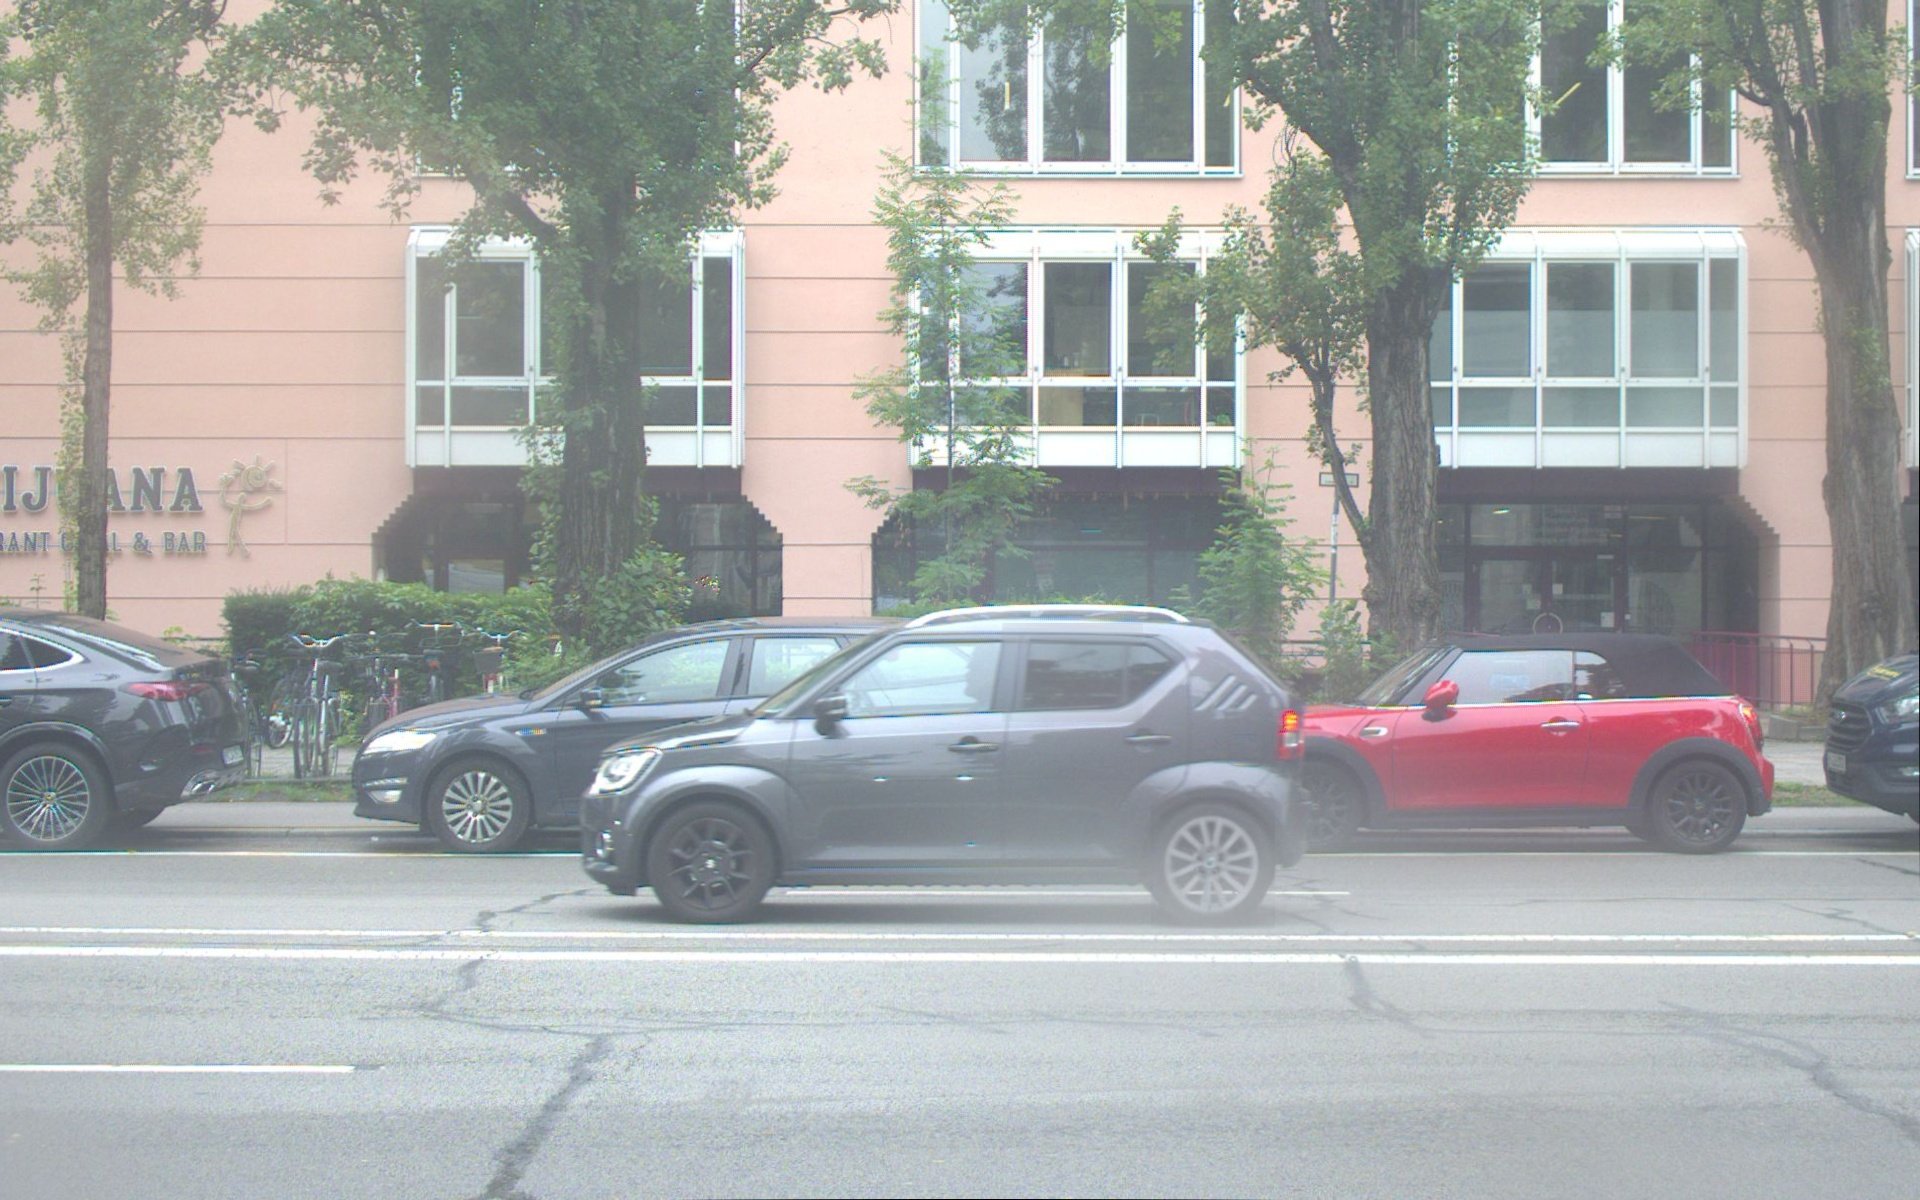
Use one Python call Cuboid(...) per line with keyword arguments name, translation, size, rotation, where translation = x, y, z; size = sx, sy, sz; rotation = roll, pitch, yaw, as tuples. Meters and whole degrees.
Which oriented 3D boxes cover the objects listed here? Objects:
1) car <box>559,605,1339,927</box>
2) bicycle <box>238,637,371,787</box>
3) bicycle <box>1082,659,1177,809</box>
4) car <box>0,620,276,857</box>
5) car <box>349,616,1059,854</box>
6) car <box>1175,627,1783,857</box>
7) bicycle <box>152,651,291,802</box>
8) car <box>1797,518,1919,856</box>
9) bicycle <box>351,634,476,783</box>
Cuboid(name="car", translation=(-0.048, 0.808, 17.458), size=(3.740, 1.522, 1.849), rotation=(0, -1, 0))
Cuboid(name="bicycle", translation=(-5.223, 0.875, 27.488), size=(0.674, 1.120, 1.989), rotation=(0, 0, 0))
Cuboid(name="bicycle", translation=(1.342, 1.052, 27.463), size=(0.674, 1.120, 1.742), rotation=(0, 0, 0))
Cuboid(name="car", translation=(-7.048, 0.904, 23.233), size=(4.499, 1.523, 1.793), rotation=(0, 0, 0))
Cuboid(name="car", translation=(-1.663, 0.883, 23.219), size=(4.608, 1.523, 1.793), rotation=(0, 0, 0))
Cuboid(name="car", translation=(3.389, 0.920, 22.999), size=(3.861, 1.444, 1.678), rotation=(0, 0, 3))
Cuboid(name="bicycle", translation=(-5.878, 0.985, 27.460), size=(0.674, 1.120, 1.989), rotation=(0, 0, 0))
Cuboid(name="car", translation=(8.645, 0.559, 23.244), size=(5.479, 2.189, 2.024), rotation=(0, 0, 0))
Cuboid(name="bicycle", translation=(-4.368, 0.849, 27.582), size=(0.674, 1.120, 1.989), rotation=(0, 0, 0))
